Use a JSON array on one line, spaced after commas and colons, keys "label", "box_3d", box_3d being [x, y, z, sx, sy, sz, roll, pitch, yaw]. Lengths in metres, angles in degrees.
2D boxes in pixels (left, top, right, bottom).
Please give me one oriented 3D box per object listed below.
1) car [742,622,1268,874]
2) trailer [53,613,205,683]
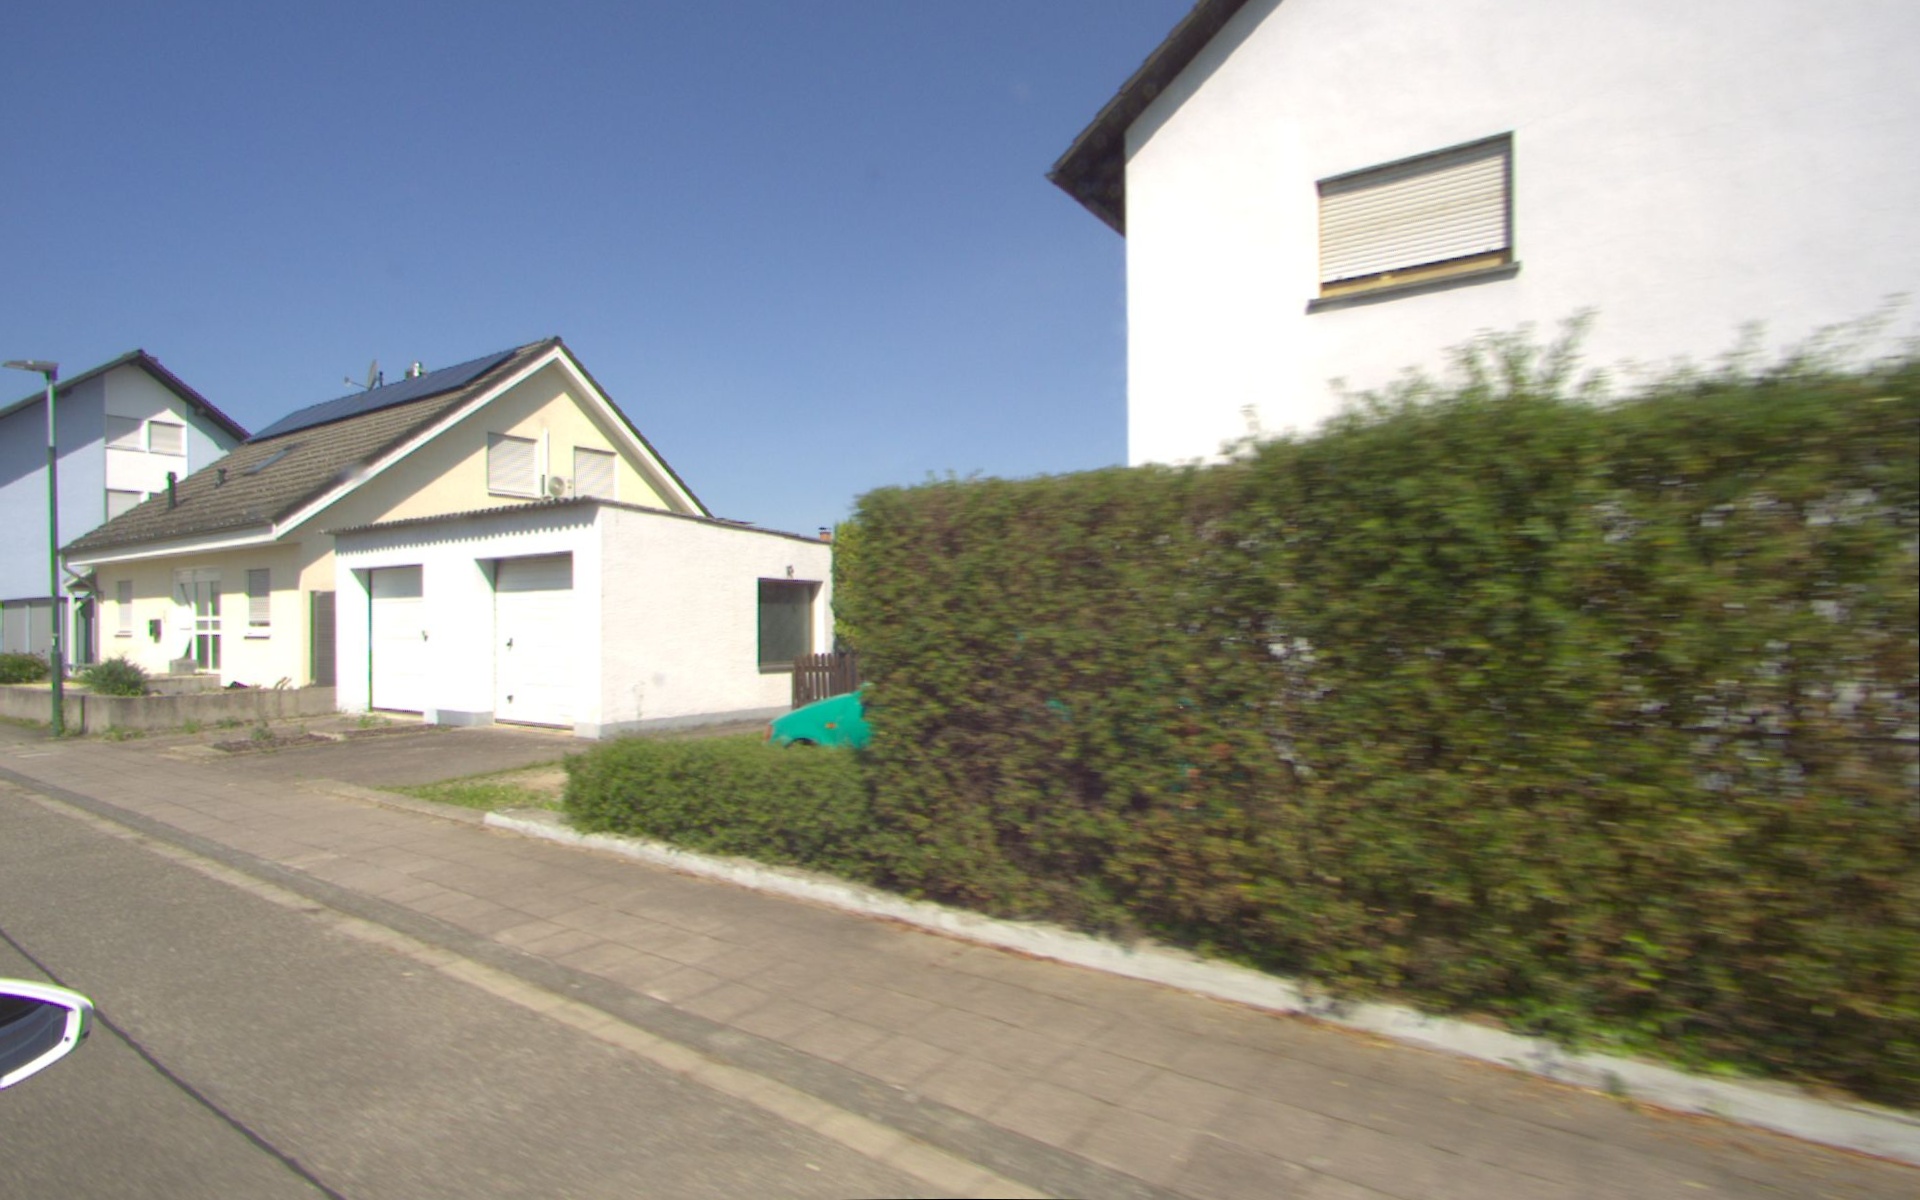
[{"label": "car", "box_3d": [0.224, 0.852, 7.093, 3.479, 1.376, 1.490, -1, -1, 34]}, {"label": "trailer", "box_3d": [-21.733, 1.216, 26.254, 1.384, 1.712, 2.826, -1, -1, 35]}]
